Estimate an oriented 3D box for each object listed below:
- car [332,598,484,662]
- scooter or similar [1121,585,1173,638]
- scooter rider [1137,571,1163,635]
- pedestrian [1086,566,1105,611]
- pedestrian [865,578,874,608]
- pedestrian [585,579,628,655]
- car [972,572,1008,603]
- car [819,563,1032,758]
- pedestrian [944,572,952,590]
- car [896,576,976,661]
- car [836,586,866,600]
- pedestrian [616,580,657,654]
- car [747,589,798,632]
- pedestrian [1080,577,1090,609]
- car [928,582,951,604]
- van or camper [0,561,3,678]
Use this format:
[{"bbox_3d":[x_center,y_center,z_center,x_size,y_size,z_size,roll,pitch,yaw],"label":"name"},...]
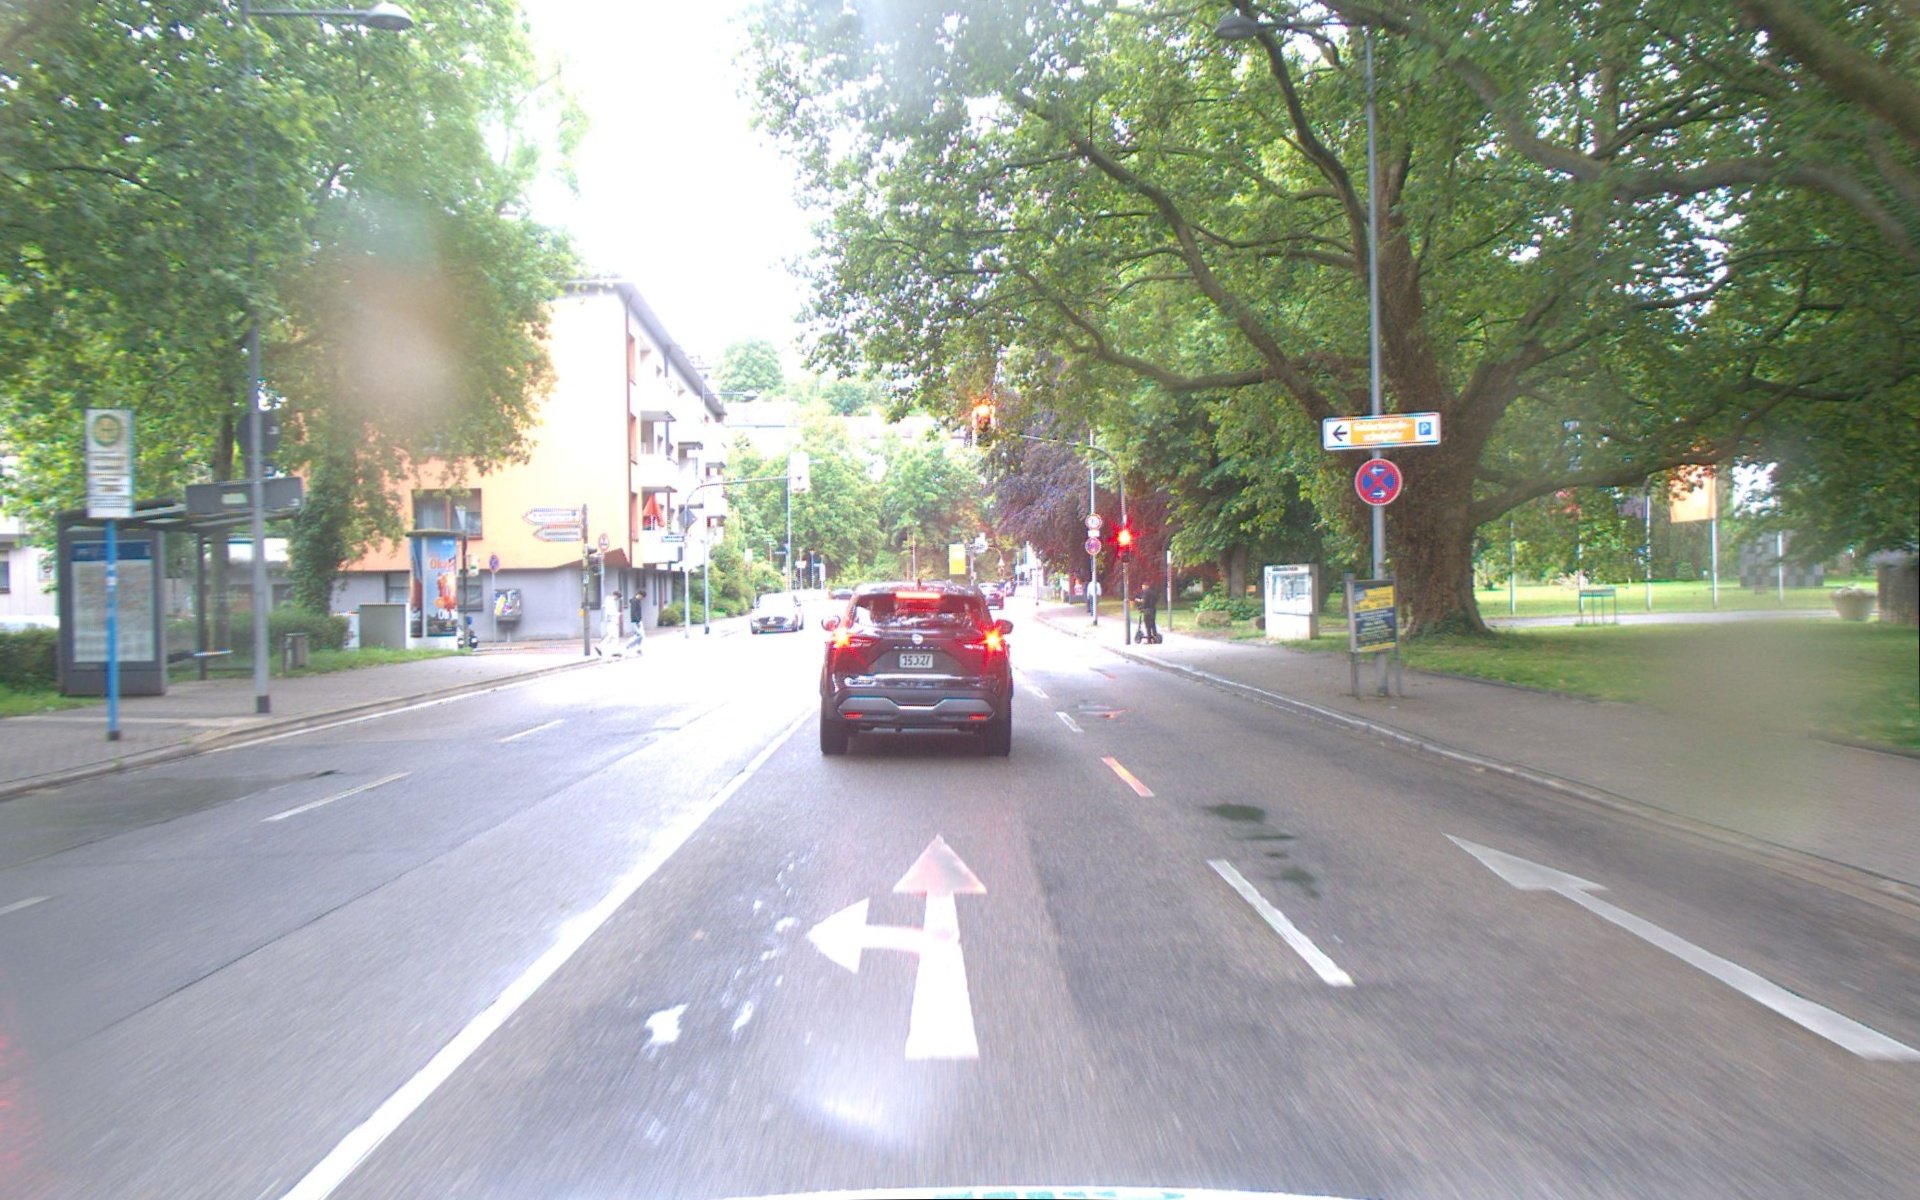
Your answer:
[{"bbox_3d":[-16.053,0.841,48.128,4.067,1.654,1.839,-2,1,-22],"label":"car"},{"bbox_3d":[5.244,0.322,46.363,1.364,1.471,0.818,-1,-1,11],"label":"scooter or similar"},{"bbox_3d":[5.334,0.089,46.361,0.629,1.797,0.736,-1,-1,12],"label":"scooter rider"},{"bbox_3d":[6.174,-0.521,75.357,0.710,2.049,0.851,-1,0,-1],"label":"pedestrian"},{"bbox_3d":[-5.639,-0.444,102.804,0.498,1.833,0.619,-2,0,-1],"label":"pedestrian"},{"bbox_3d":[-9.116,0.427,42.644,1.017,1.908,0.656,-1,0,-13],"label":"pedestrian"},{"bbox_3d":[1.804,-0.735,98.046,1.952,1.765,4.002,1,0,4],"label":"car"},{"bbox_3d":[-0.339,0.516,16.688,1.874,1.709,3.999,1,1,-1],"label":"car"},{"bbox_3d":[-1.107,-1.839,157.616,0.498,1.702,0.658,-1,0,27],"label":"pedestrian"},{"bbox_3d":[-0.542,0.376,37.051,1.664,1.776,3.640,-2,1,-1],"label":"car"},{"bbox_3d":[-12.673,-0.801,191.974,3.374,1.579,1.757,2,0,-7],"label":"car"},{"bbox_3d":[-8.518,0.442,43.512,1.017,1.908,0.656,-1,0,-13],"label":"pedestrian"},{"bbox_3d":[-7.172,0.386,63.640,1.760,1.560,3.864,-2,1,-5],"label":"car"},{"bbox_3d":[6.032,-0.318,79.758,0.382,1.528,0.559,-1,0,-1],"label":"pedestrian"},{"bbox_3d":[-1.535,-0.533,120.894,1.601,1.559,3.967,-2,1,-1],"label":"car"},{"bbox_3d":[-18.484,0.381,26.980,4.504,1.983,1.999,-1,0,-3],"label":"van or camper"}]
